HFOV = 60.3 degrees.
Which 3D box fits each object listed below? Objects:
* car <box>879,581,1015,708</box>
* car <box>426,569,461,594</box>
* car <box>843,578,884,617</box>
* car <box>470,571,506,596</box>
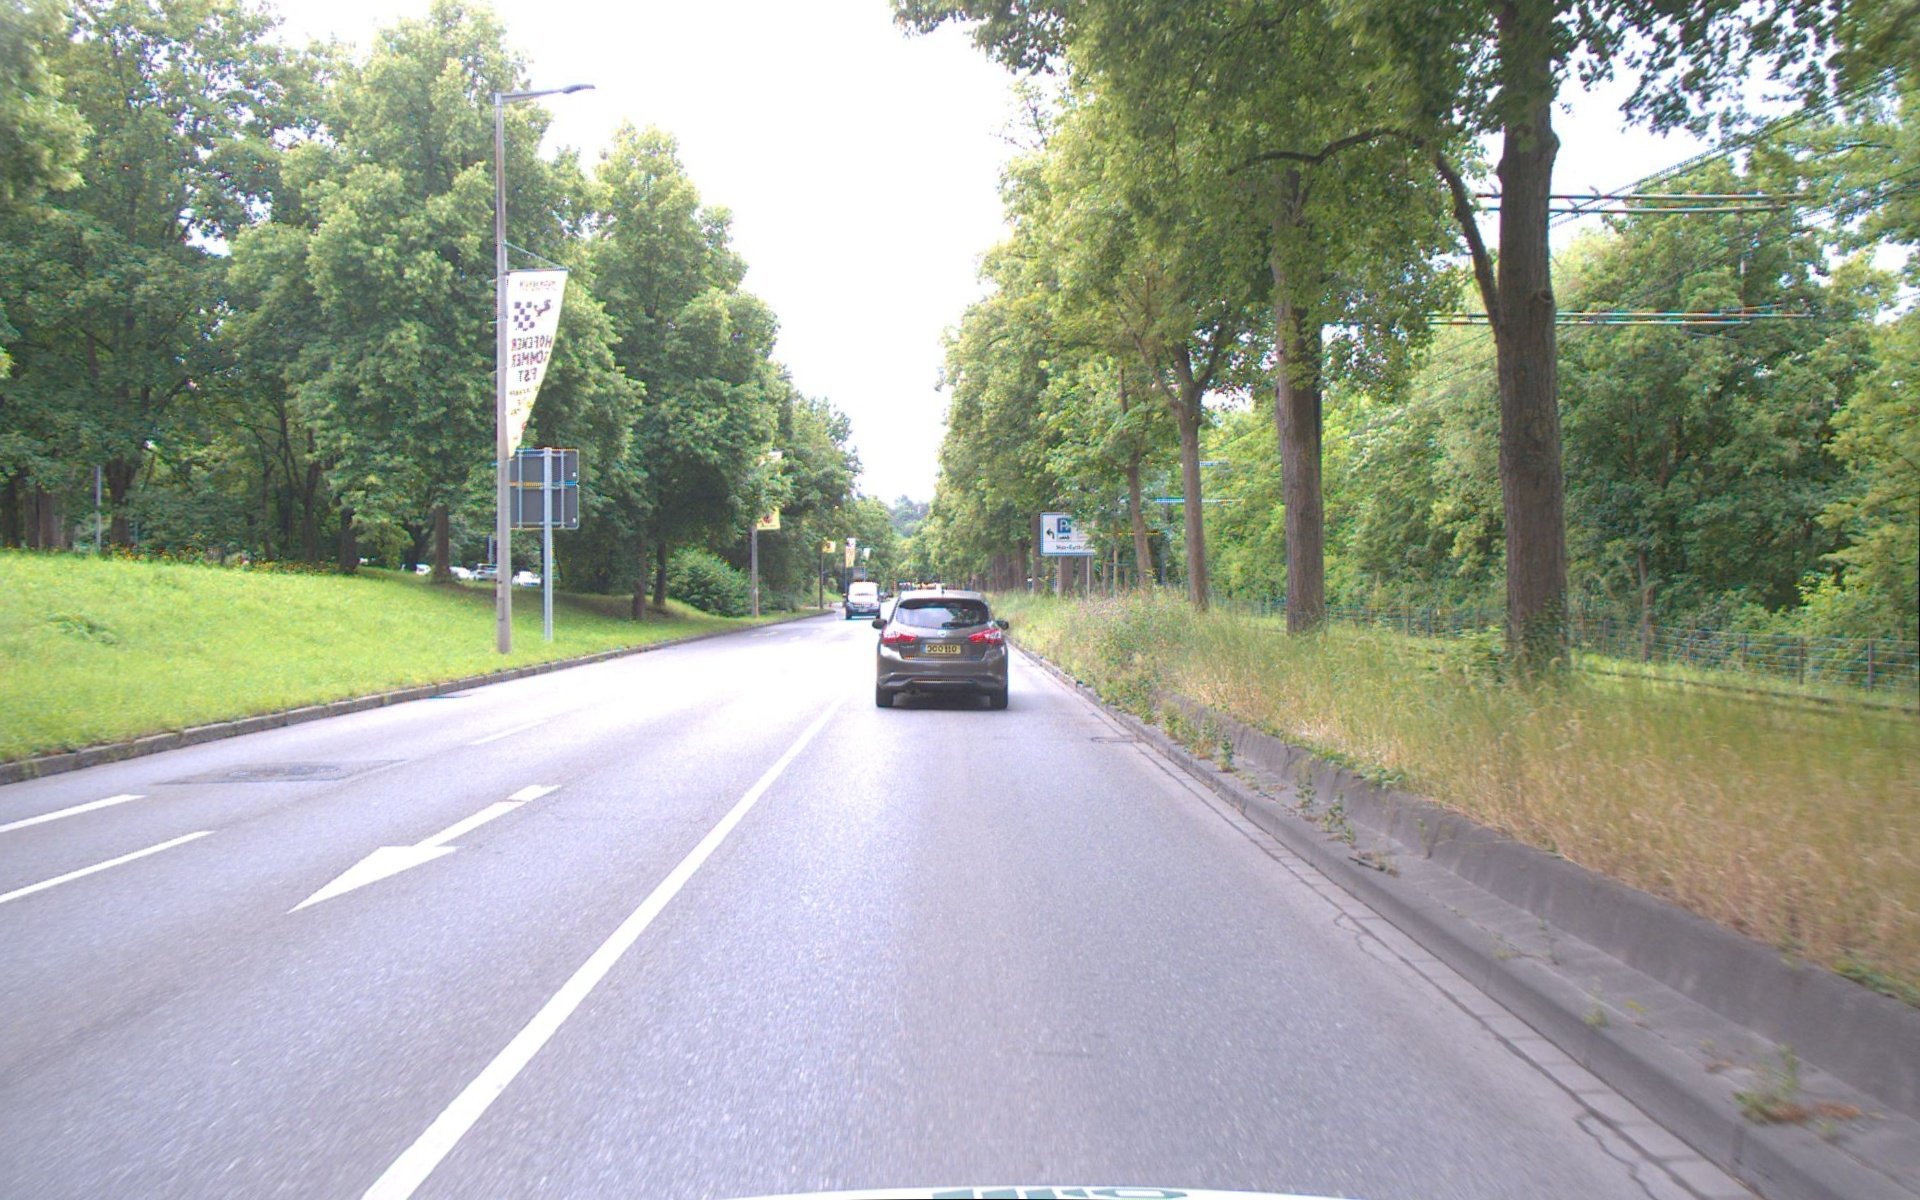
[{"bbox_3d":[-0.201,0.564,22.649,1.695,1.564,3.550,1,0,-1],"label":"car"},{"bbox_3d":[-31.928,-1.140,102.190,1.624,1.512,3.969,1,0,-24],"label":"car"},{"bbox_3d":[-5.178,-0.123,89.277,1.953,1.990,5.183,0,0,0],"label":"car"},{"bbox_3d":[-29.378,-1.003,102.867,1.624,1.512,3.969,1,0,-24],"label":"car"}]
